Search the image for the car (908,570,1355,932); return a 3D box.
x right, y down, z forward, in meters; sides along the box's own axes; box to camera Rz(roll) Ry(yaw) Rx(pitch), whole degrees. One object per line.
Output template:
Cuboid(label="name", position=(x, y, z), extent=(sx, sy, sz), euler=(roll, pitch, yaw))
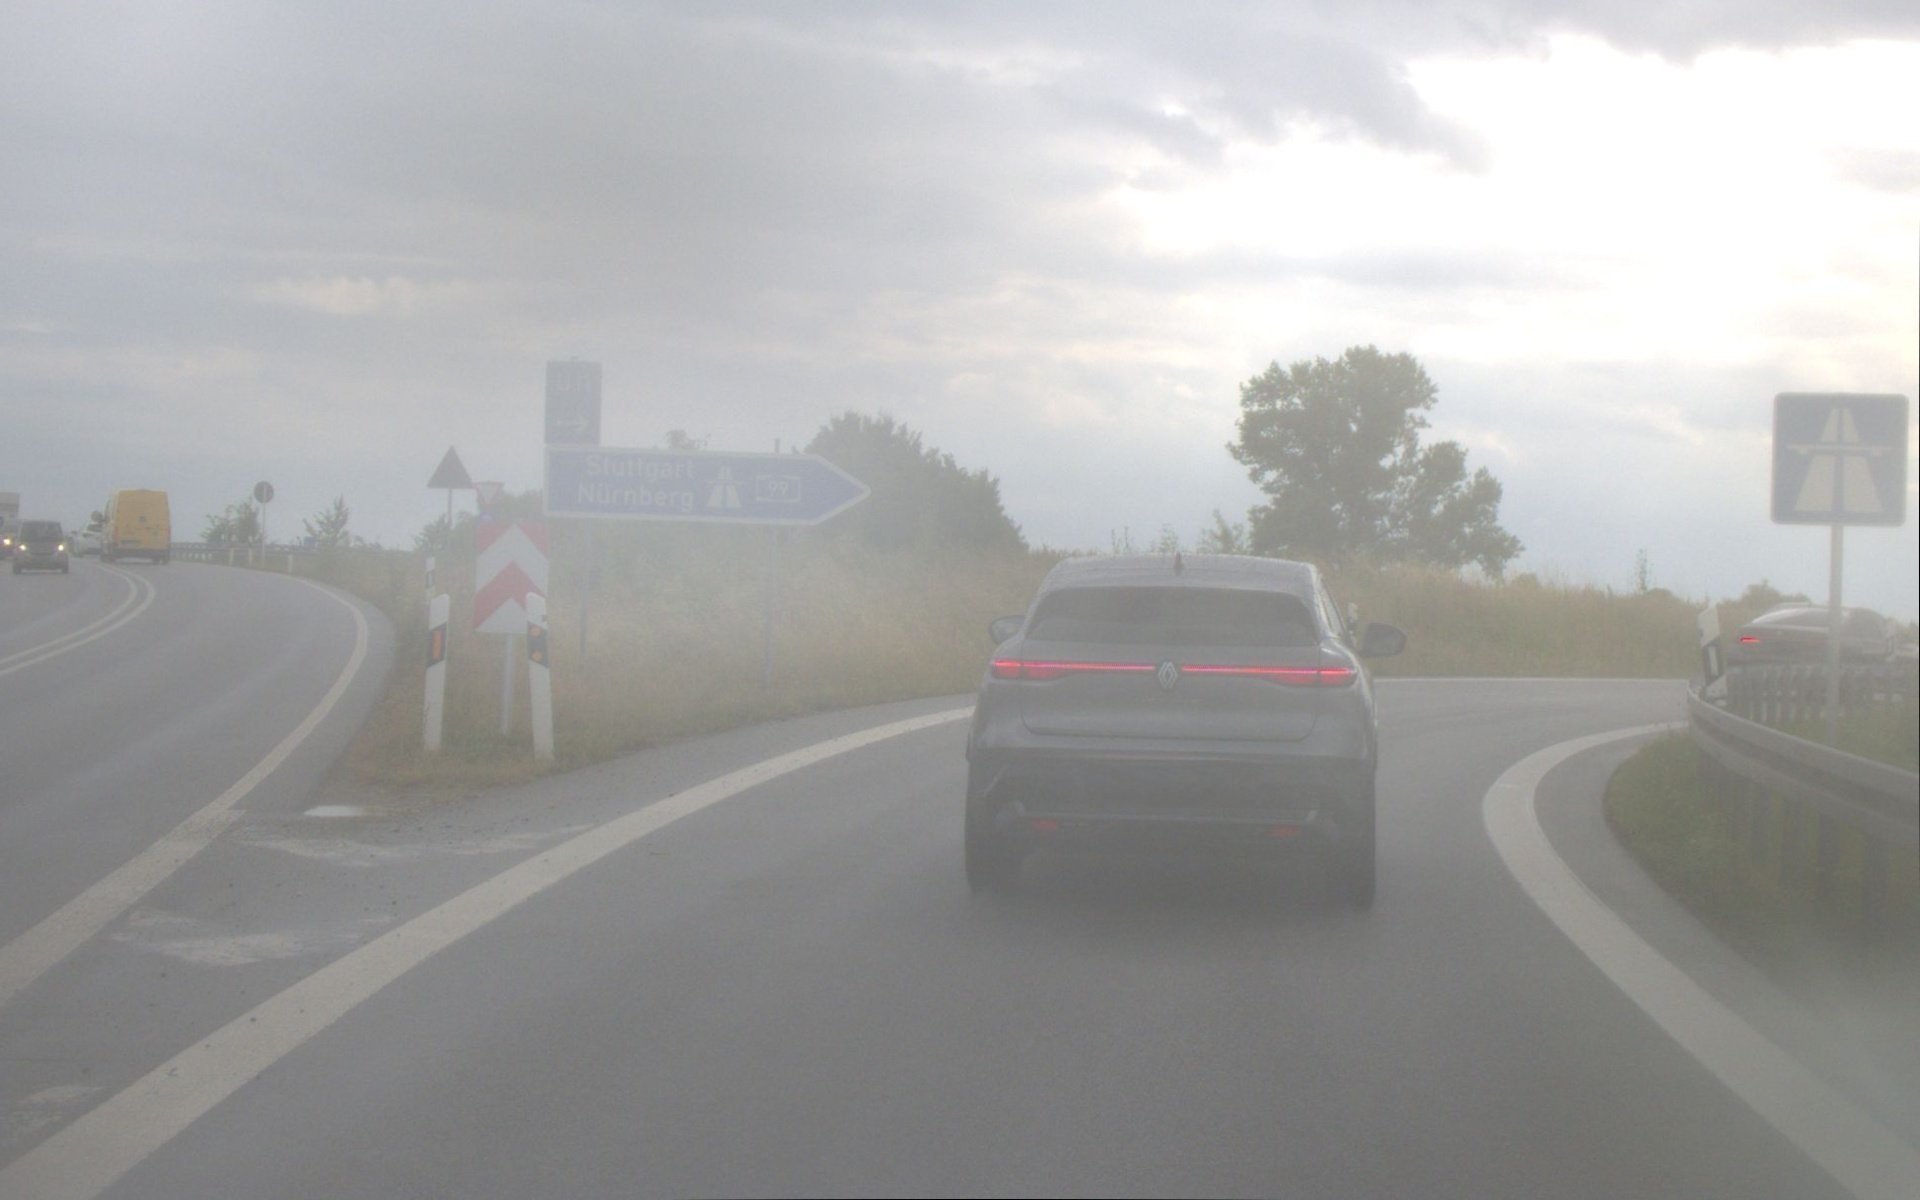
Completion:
Cuboid(label="car", position=(0.851, 0.618, 15.896), extent=(1.792, 1.436, 3.999), euler=(1, 0, 5))

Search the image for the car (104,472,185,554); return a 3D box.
Cuboid(label="car", position=(-28.161, -3.025, 118.515), extent=(2.572, 2.716, 7.199), euler=(1, 2, -14))

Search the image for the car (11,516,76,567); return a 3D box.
Cuboid(label="car", position=(-26.378, -1.683, 98.888), extent=(1.743, 1.361, 4.052), euler=(1, 1, -15))

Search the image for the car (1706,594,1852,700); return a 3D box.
Cuboid(label="car", position=(12.771, 0.755, 53.439), extent=(1.793, 1.436, 3.996), euler=(3, -1, 18))

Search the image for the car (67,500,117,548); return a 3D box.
Cuboid(label="car", position=(-34.232, -2.984, 135.538), extent=(1.791, 1.682, 4.001), euler=(0, -1, -15))
